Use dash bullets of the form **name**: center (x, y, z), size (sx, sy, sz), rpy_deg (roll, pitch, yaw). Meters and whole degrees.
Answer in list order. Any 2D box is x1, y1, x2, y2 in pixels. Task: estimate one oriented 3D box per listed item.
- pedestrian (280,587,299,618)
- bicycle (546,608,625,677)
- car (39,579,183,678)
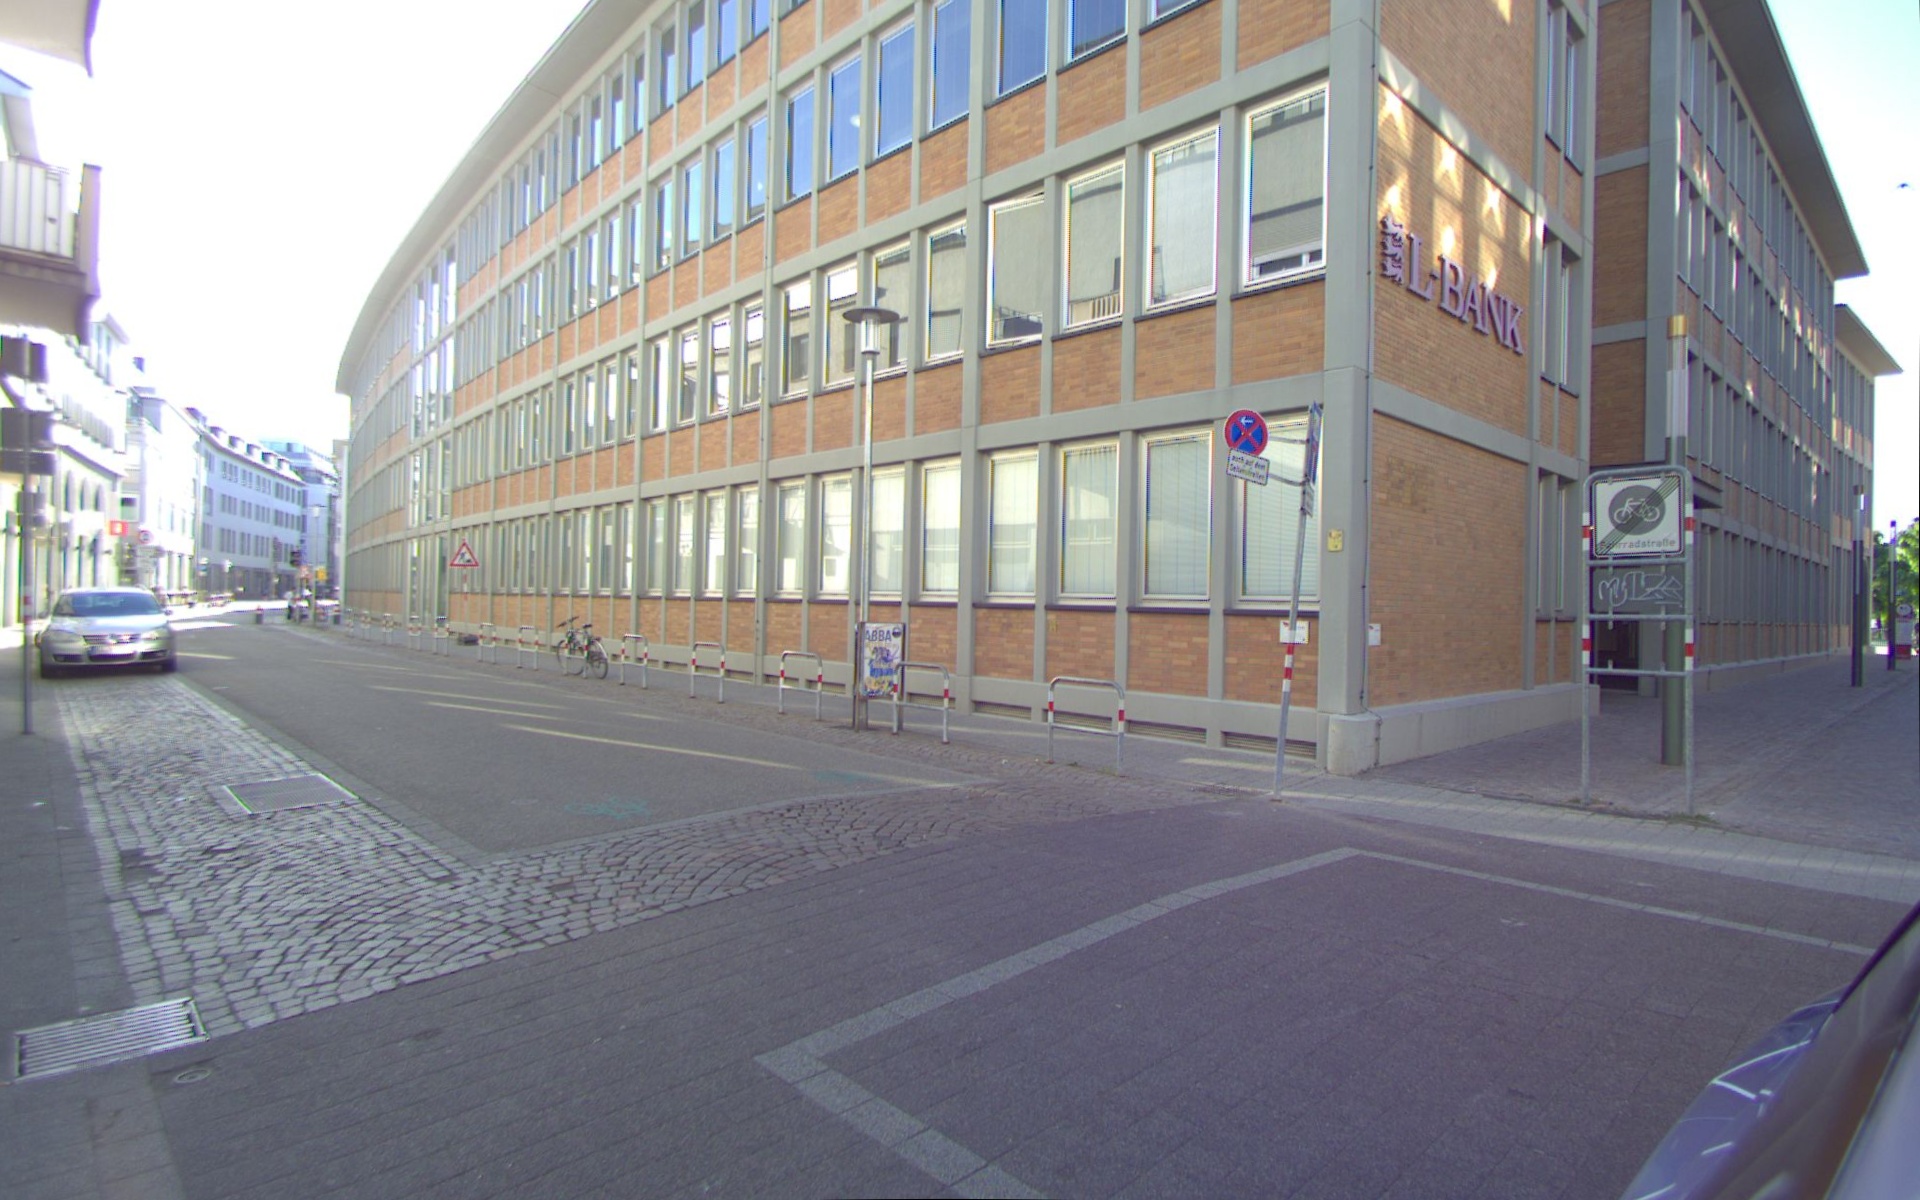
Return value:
- **pedestrian**: center (-31.302, 0.118, 47.254), size (0.648, 1.459, 0.595), rpy_deg (1, 0, -41)
- **bicycle**: center (-6.748, 0.731, 18.184), size (0.627, 1.130, 1.926), rpy_deg (1, 0, -44)
- **car**: center (-14.752, 0.392, 17.537), size (1.741, 1.488, 3.806), rpy_deg (-1, 2, -42)
